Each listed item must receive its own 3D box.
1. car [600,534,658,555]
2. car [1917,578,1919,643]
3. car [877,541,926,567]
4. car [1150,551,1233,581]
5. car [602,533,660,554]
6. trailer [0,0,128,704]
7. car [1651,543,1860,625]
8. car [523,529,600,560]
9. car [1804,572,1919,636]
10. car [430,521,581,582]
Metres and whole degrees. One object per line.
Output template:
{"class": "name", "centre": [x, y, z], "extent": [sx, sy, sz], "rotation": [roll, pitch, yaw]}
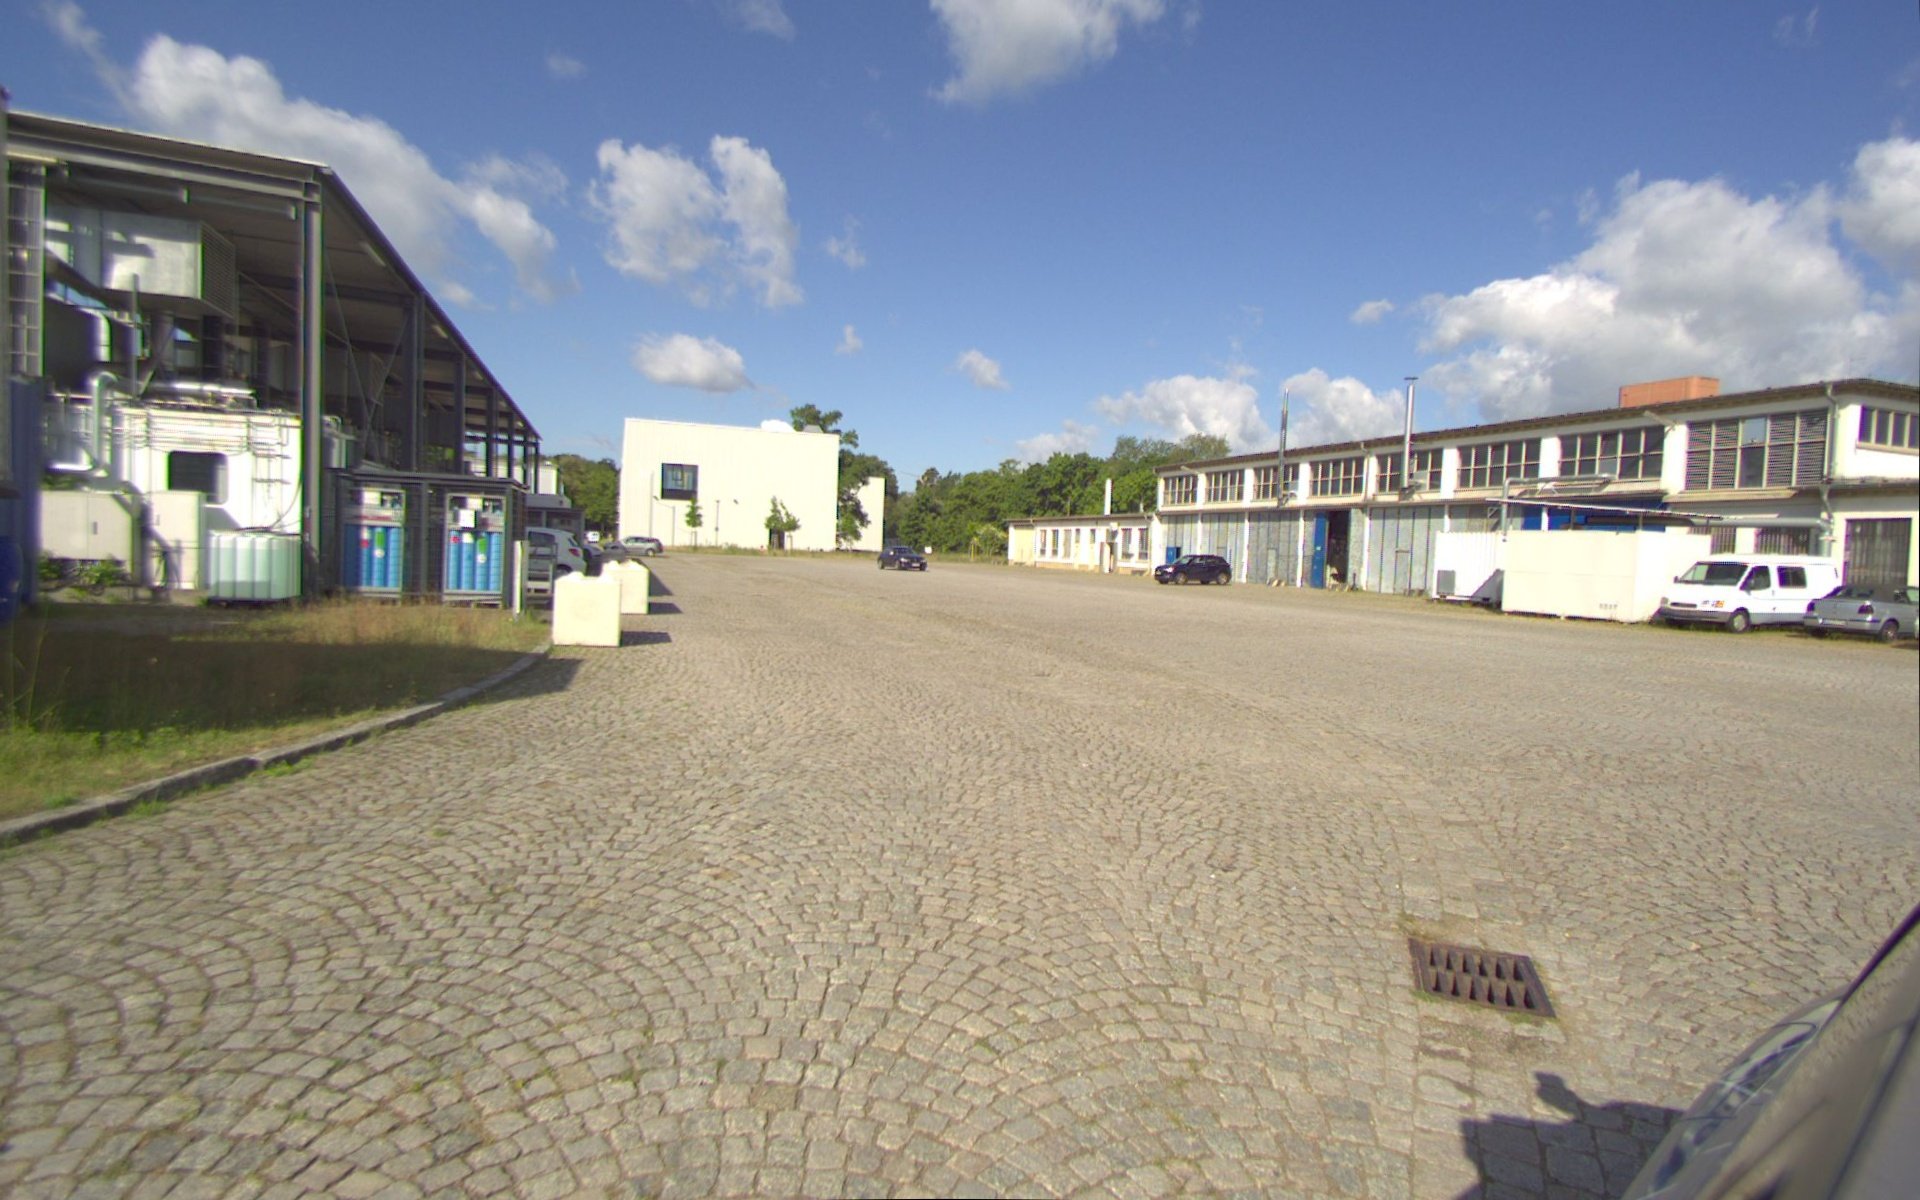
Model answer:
{"class": "car", "centre": [-25.022, -4.186, 76.486], "extent": [4.100, 1.420, 1.745], "rotation": [1, 3, -20]}
{"class": "car", "centre": [23.203, 0.272, 22.074], "extent": [3.660, 1.422, 1.742], "rotation": [0, 3, -16]}
{"class": "car", "centre": [-3.531, -2.749, 60.325], "extent": [1.704, 1.446, 4.086], "rotation": [1, 3, -21]}
{"class": "car", "centre": [12.252, -1.810, 53.582], "extent": [3.991, 1.487, 1.745], "rotation": [0, 3, -20]}
{"class": "car", "centre": [-25.869, -4.454, 79.620], "extent": [4.267, 1.487, 1.745], "rotation": [1, 3, -20]}
{"class": "trailer", "centre": [-10.086, -1.533, 3.666], "extent": [10.656, 3.958, 2.789], "rotation": [1, 2, -17]}
{"class": "car", "centre": [21.679, -0.448, 27.620], "extent": [4.703, 2.106, 2.015], "rotation": [0, 3, -16]}
{"class": "car", "centre": [-20.445, -2.860, 52.009], "extent": [3.620, 1.426, 1.680], "rotation": [1, 3, -22]}
{"class": "car", "centre": [23.197, 0.108, 25.022], "extent": [3.750, 1.415, 1.697], "rotation": [1, 3, -16]}
{"class": "car", "centre": [-11.549, -1.233, 25.866], "extent": [3.400, 1.392, 1.615], "rotation": [1, 3, -22]}
